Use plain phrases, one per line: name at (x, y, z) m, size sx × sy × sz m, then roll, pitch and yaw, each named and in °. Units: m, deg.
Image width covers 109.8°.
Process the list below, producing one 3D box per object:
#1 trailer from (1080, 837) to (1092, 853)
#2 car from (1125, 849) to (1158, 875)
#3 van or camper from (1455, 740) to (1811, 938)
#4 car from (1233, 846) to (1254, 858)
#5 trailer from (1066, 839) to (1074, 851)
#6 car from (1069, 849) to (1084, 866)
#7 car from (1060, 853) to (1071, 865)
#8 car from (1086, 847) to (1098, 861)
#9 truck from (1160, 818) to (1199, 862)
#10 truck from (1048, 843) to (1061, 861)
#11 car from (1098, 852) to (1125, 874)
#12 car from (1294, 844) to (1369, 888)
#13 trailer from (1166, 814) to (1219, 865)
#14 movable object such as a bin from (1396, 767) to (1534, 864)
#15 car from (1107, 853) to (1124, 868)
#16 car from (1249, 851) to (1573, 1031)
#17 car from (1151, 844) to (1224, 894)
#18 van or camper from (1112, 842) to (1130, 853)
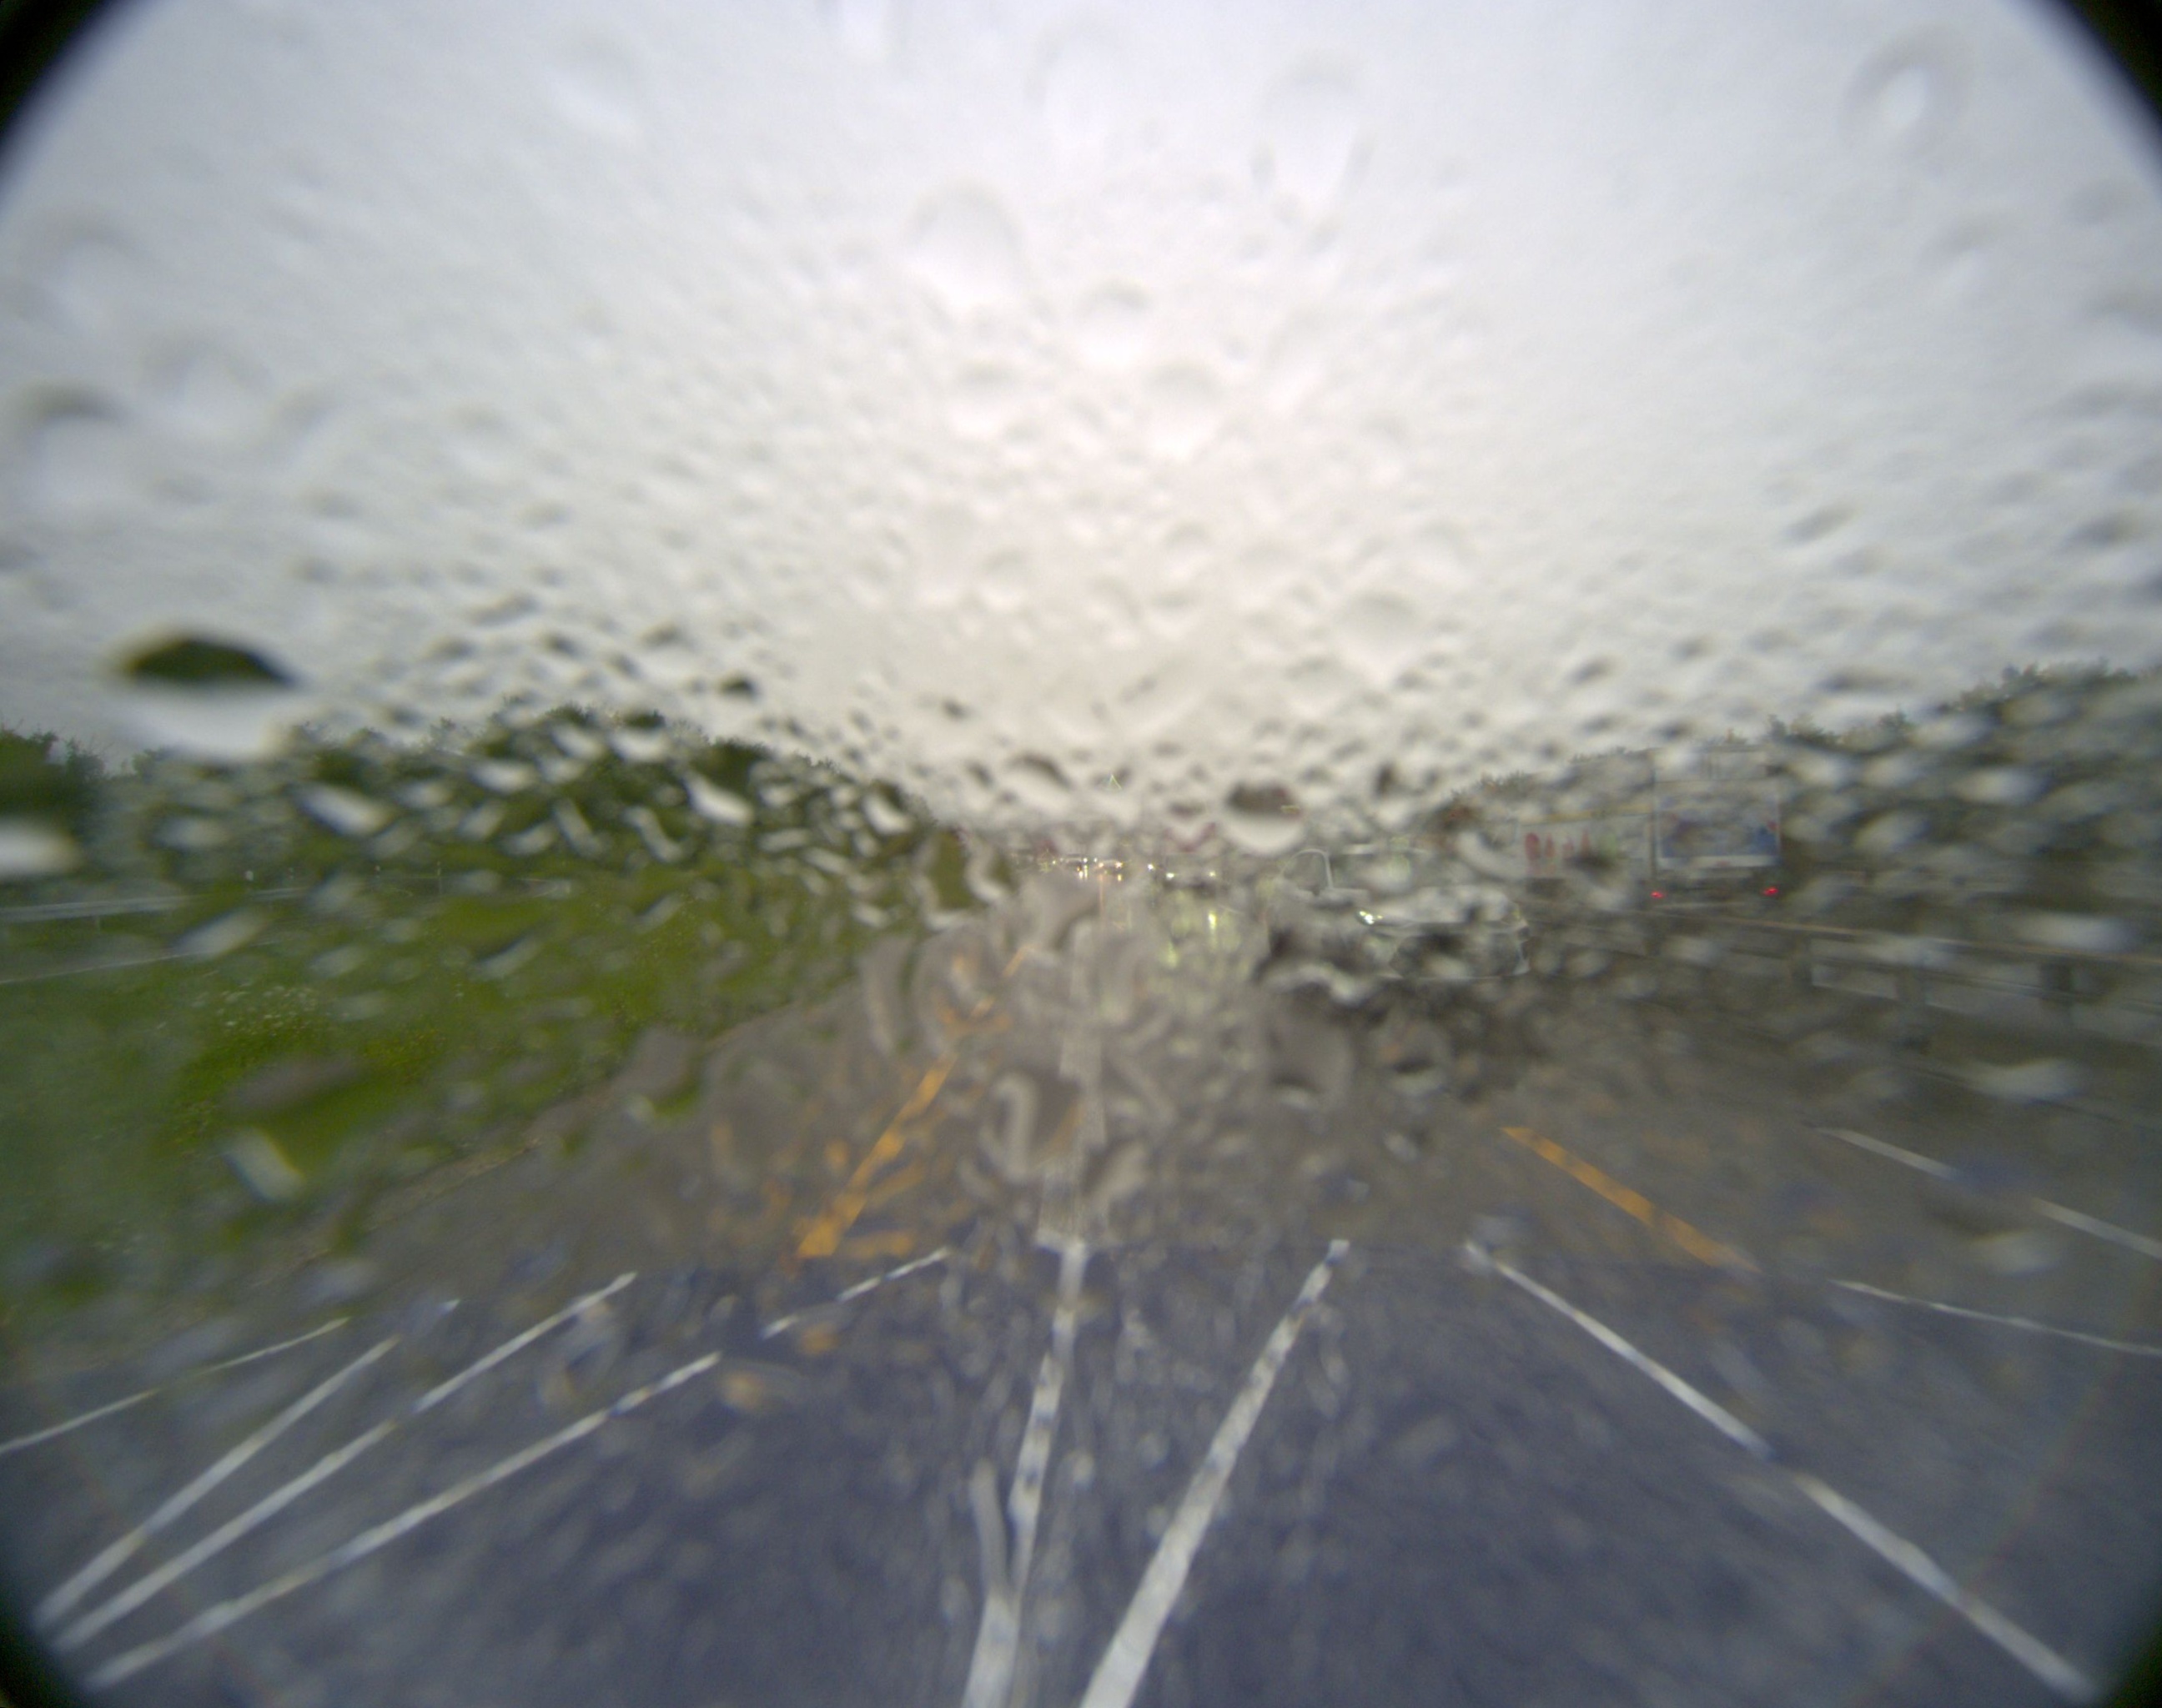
trailer at (1.309, -2.378, 210.830) m, size 2.915 × 4.065 × 12.218 m, roll -1°, pitch 0°, yaw -1°
car at (3.788, 0.491, 48.178) m, size 1.792 × 1.481 × 3.999 m, roll -3°, pitch 1°, yaw 1°
van or camper at (10.380, -0.281, 15.361) m, size 2.299 × 3.024 × 6.698 m, roll -3°, pitch 1°, yaw 1°
car at (27.624, -0.346, 129.417) m, size 2.099 × 1.955 × 5.363 m, roll -2°, pitch 1°, yaw -3°
trailer at (-3.721, -2.973, 252.888) m, size 2.501 × 4.026 × 12.582 m, roll -1°, pitch 1°, yaw -2°
car at (-0.471, 0.364, 87.269) m, size 1.673 × 1.804 × 3.999 m, roll -1°, pitch 1°, yaw 0°
car at (-2.504, 0.815, 123.416) m, size 1.674 × 1.804 × 3.998 m, roll -1°, pitch 1°, yaw -4°
car at (1.619, 0.012, 115.260) m, size 1.766 × 2.002 × 3.999 m, roll -3°, pitch 1°, yaw 0°
truck at (9.911, -1.384, 76.866) m, size 3.015 × 4.247 × 6.799 m, roll -1°, pitch 1°, yaw 0°
truck at (-6.281, -0.486, 180.130) m, size 2.506 × 4.067 × 15.197 m, roll -3°, pitch 1°, yaw -1°
car at (2.564, 0.738, 64.071) m, size 1.881 × 1.772 × 3.998 m, roll -1°, pitch 1°, yaw -3°
car at (10.468, 0.440, 32.044) m, size 1.640 × 1.658 × 4.543 m, roll -3°, pitch 1°, yaw 1°
trailer at (9.988, -1.304, 69.367) m, size 2.983 × 4.270 × 11.057 m, roll -1°, pitch 1°, yaw -1°
movable object such as a bin at (26.321, -2.468, 53.049) m, size 4.181 × 5.881 × 11.044 m, roll -3°, pitch 1°, yaw 2°
car at (3.565, 0.638, 78.465) m, size 1.589 × 1.528 × 3.831 m, roll -1°, pitch 1°, yaw 0°
car at (3.549, 0.781, 9.400) m, size 1.932 × 1.542 × 5.006 m, roll -2°, pitch 1°, yaw 2°
car at (3.810, 0.495, 28.048) m, size 2.069 × 1.618 × 5.195 m, roll -2°, pitch 1°, yaw 1°
van or camper at (13.371, -2.095, 257.063) m, size 5.423 × 3.325 × 3.375 m, roll -3°, pitch 1°, yaw -7°
